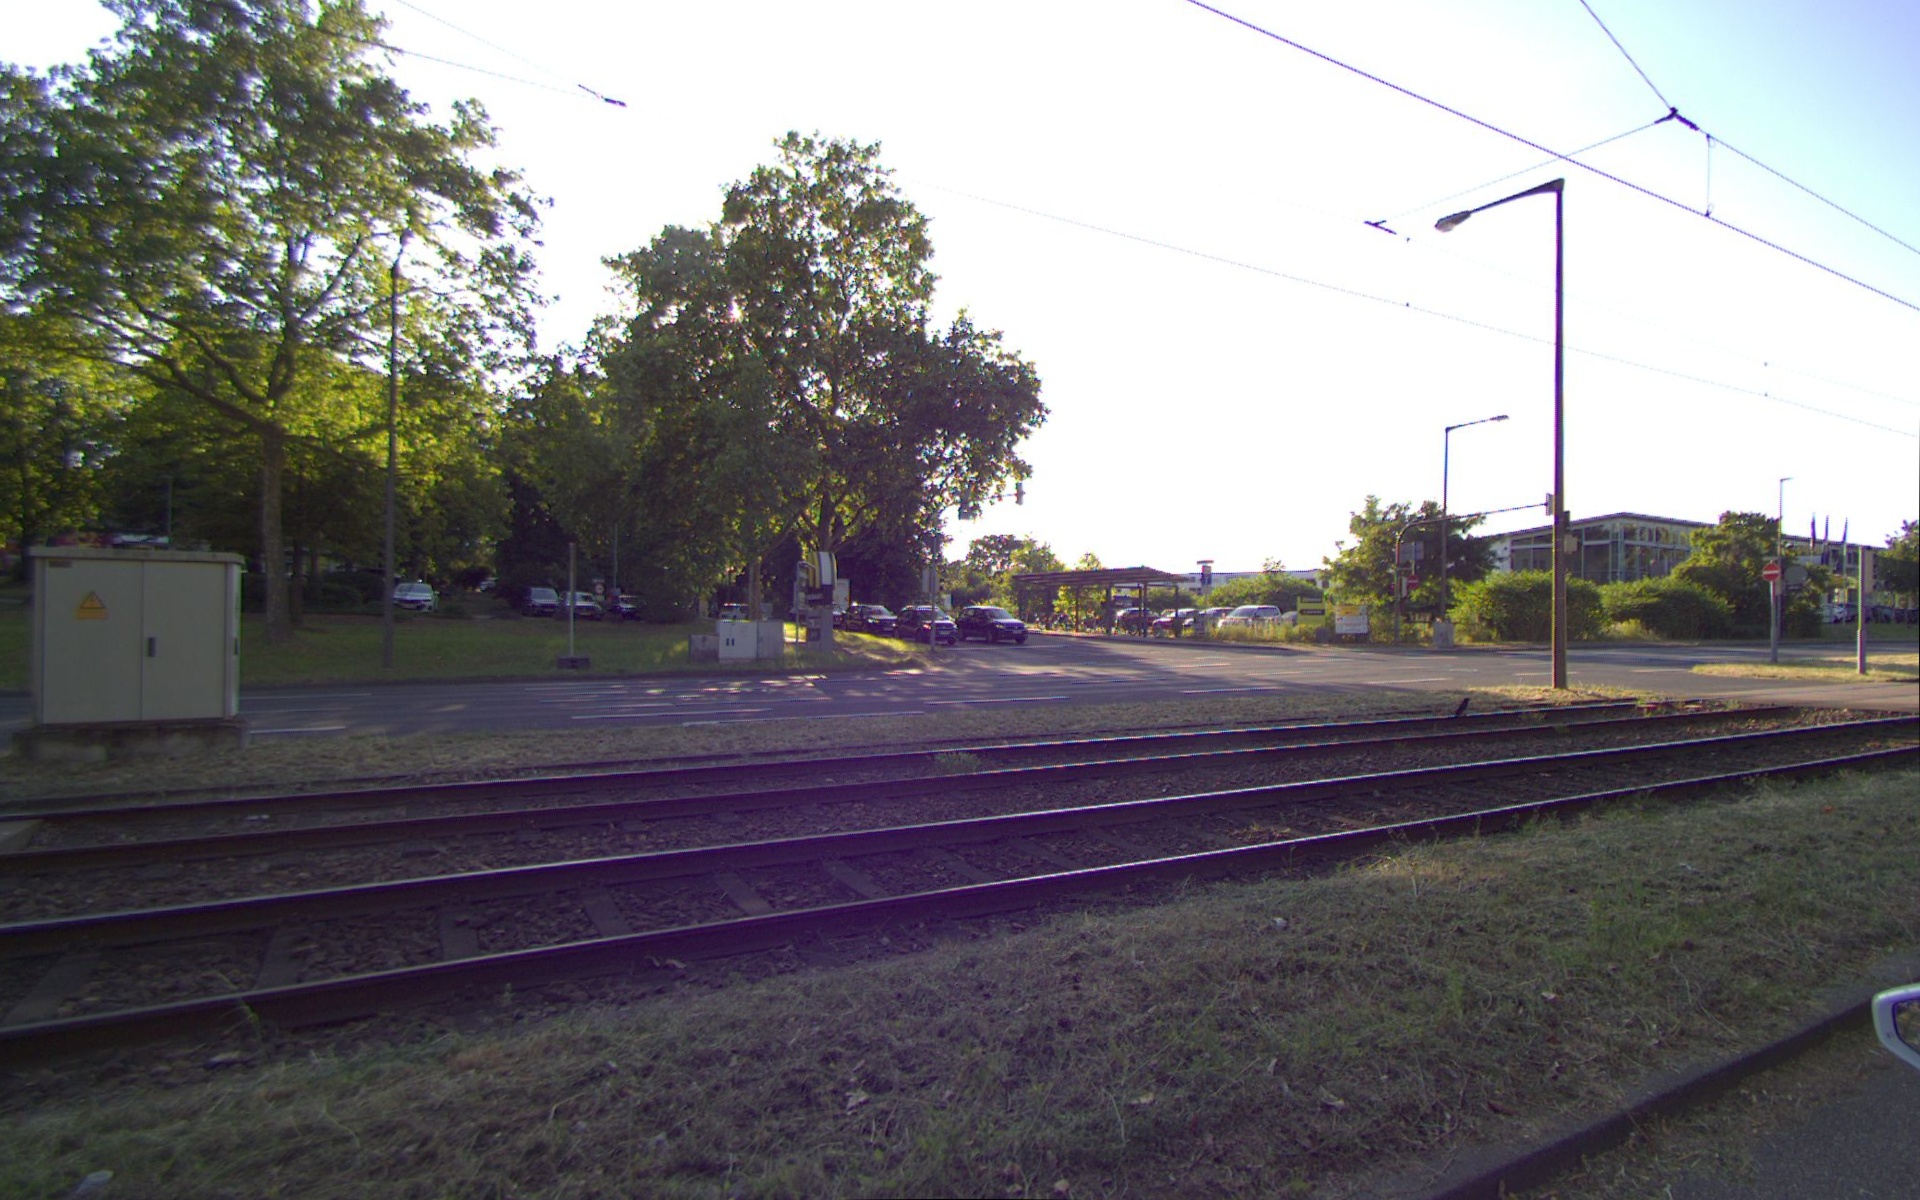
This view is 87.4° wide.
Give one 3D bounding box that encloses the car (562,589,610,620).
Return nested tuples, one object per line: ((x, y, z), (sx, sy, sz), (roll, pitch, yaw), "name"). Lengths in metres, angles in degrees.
((-19.323, 0.215, 51.757), (1.916, 1.530, 4.071), (2, 0, -26), "car")

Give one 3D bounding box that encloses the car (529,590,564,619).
((-24.989, 0.244, 60.644), (1.836, 1.637, 4.035), (2, 0, -24), "car")

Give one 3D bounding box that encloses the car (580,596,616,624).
((-22.676, 0.603, 62.871), (1.836, 1.637, 4.035), (2, 0, -24), "car")

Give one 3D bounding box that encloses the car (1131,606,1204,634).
((12.412, 1.197, 60.073), (4.123, 1.604, 1.853), (1, 0, -30), "car")

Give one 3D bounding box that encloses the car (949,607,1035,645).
((1.439, 1.168, 46.888), (1.858, 1.656, 4.329), (0, 0, -33), "car")

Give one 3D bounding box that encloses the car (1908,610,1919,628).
((91.872, 1.802, 94.277), (1.725, 1.642, 3.962), (1, 0, -34), "car")

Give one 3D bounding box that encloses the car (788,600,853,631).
((-7.768, 0.837, 55.648), (1.824, 1.657, 4.270), (1, 0, -34), "car")

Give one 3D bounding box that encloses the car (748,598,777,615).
((-19.062, 0.597, 97.080), (1.711, 1.603, 4.028), (0, 0, -27), "car")

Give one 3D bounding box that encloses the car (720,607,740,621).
((-29.330, 1.770, 127.786), (1.887, 1.602, 4.036), (2, 0, -21), "car")

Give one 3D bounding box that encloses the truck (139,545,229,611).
((-40.914, -1.122, 53.160), (2.468, 3.209, 6.187), (2, 0, -26), "truck")

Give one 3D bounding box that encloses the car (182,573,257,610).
((-32.455, -0.364, 44.145), (1.916, 1.530, 4.071), (2, 0, -26), "car")

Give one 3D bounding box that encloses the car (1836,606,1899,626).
((77.721, 1.352, 86.099), (3.939, 1.577, 1.735), (1, 0, 40), "car")

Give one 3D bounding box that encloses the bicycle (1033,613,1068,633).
((5.516, 1.400, 61.301), (2.004, 1.119, 0.777), (2, 0, -31), "bicycle")

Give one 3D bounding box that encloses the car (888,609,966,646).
((-1.538, 1.223, 45.112), (1.739, 1.578, 3.936), (1, -2, -33), "car")

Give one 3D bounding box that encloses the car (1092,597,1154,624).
((12.817, 0.809, 78.939), (4.715, 2.041, 1.853), (0, 1, -30), "car")

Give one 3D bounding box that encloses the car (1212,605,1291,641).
((15.970, 1.230, 55.022), (4.123, 1.846, 1.853), (0, 1, -30), "car")

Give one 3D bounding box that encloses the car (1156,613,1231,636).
((13.538, 1.398, 58.146), (4.123, 1.284, 1.853), (1, 0, -30), "car")

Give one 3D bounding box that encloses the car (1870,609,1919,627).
((85.264, 1.611, 91.023), (1.728, 1.577, 3.956), (1, 0, -38), "car")

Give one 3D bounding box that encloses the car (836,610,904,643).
((-4.550, 1.278, 50.449), (1.717, 1.565, 4.297), (-1, 0, -31), "car")

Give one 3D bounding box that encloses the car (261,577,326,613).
((-30.328, -0.217, 45.816), (1.916, 1.530, 4.071), (2, 0, -26), "car")

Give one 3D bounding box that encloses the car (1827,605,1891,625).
((75.506, 1.271, 84.424), (3.939, 1.577, 1.735), (1, 0, 40), "car")

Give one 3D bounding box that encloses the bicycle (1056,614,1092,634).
((6.666, 1.422, 58.668), (2.004, 1.119, 0.777), (2, 0, -31), "bicycle")

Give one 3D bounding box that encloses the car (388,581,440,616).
((-25.810, -0.071, 47.585), (1.916, 1.530, 4.071), (2, 0, -26), "car")

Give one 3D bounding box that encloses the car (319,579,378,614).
((-28.489, -0.156, 46.894), (1.916, 1.530, 4.071), (2, 0, -26), "car")

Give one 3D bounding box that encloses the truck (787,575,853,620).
((-11.521, -0.211, 81.989), (2.782, 3.521, 8.291), (0, 0, -27), "truck")

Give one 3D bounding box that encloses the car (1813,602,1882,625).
((68.716, 1.016, 77.829), (3.939, 1.727, 1.735), (1, 0, 40), "car")

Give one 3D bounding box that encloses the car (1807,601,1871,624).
((72.845, 1.049, 83.299), (3.939, 1.840, 1.735), (1, 0, 40), "car")

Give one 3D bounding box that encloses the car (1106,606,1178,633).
((11.301, 1.206, 62.264), (4.123, 1.604, 1.968), (1, 0, -30), "car")

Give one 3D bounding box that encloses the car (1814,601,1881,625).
((71.888, 1.040, 81.451), (3.939, 1.840, 1.735), (1, 0, 40), "car")

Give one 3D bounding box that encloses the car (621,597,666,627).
((-16.831, 0.610, 53.315), (1.604, 1.477, 3.878), (2, 0, -27), "car")

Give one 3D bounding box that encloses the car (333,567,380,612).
((-33.704, -0.576, 56.127), (2.138, 2.334, 4.369), (2, 0, -31), "car")
